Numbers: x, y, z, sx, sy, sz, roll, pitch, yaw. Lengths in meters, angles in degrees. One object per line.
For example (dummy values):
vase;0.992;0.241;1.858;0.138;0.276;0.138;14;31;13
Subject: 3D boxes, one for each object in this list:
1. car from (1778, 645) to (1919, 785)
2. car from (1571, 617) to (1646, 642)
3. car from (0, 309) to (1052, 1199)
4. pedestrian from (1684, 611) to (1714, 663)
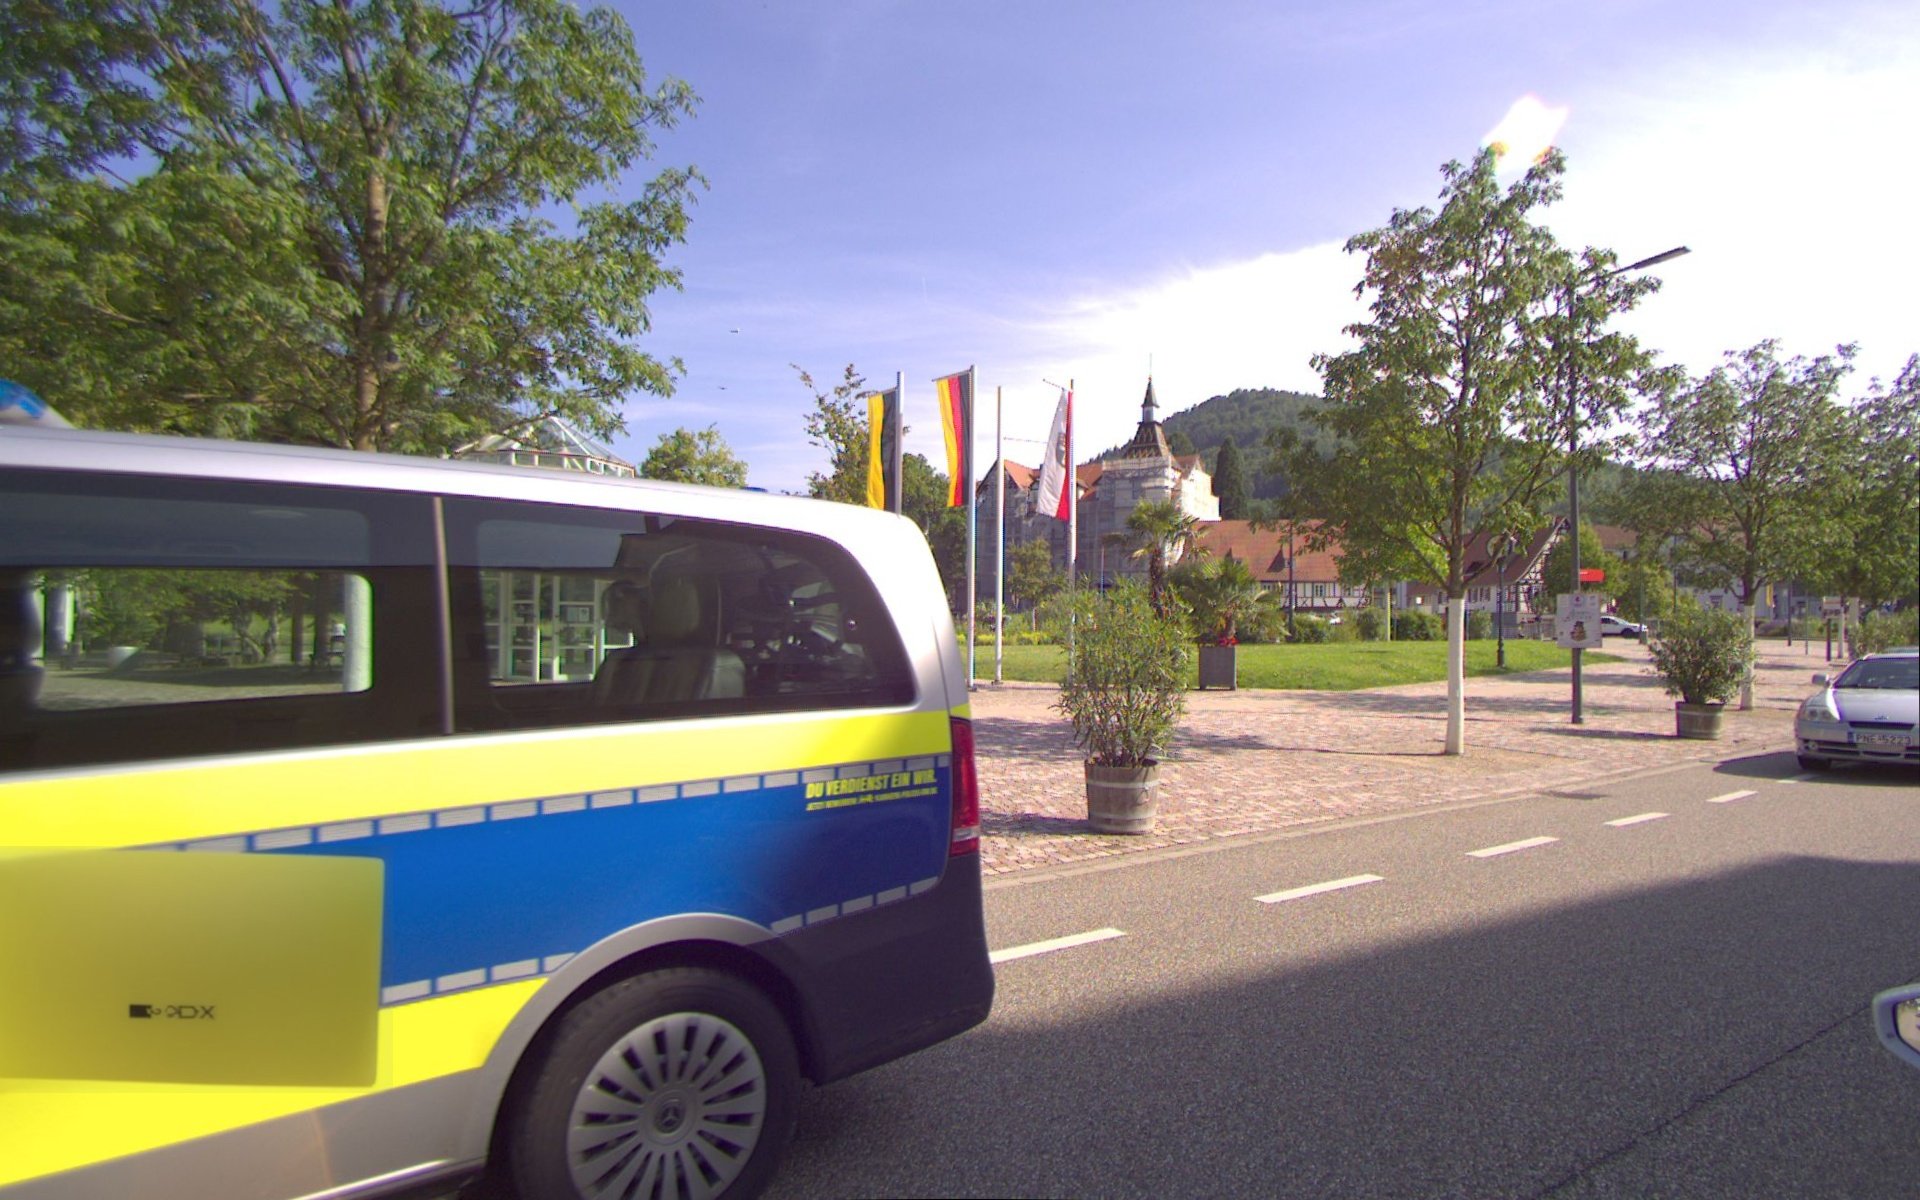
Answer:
car;11.063;1.214;11.499;4.024;1.388;1.617;2;-4;-36
car;45.523;2.060;70.525;1.675;1.638;4.137;1;-1;-38
car;-2.331;0.534;2.291;4.960;1.978;1.846;2;-3;-31
pedestrian;26.576;1.328;36.117;0.855;1.839;0.689;0;-1;37
